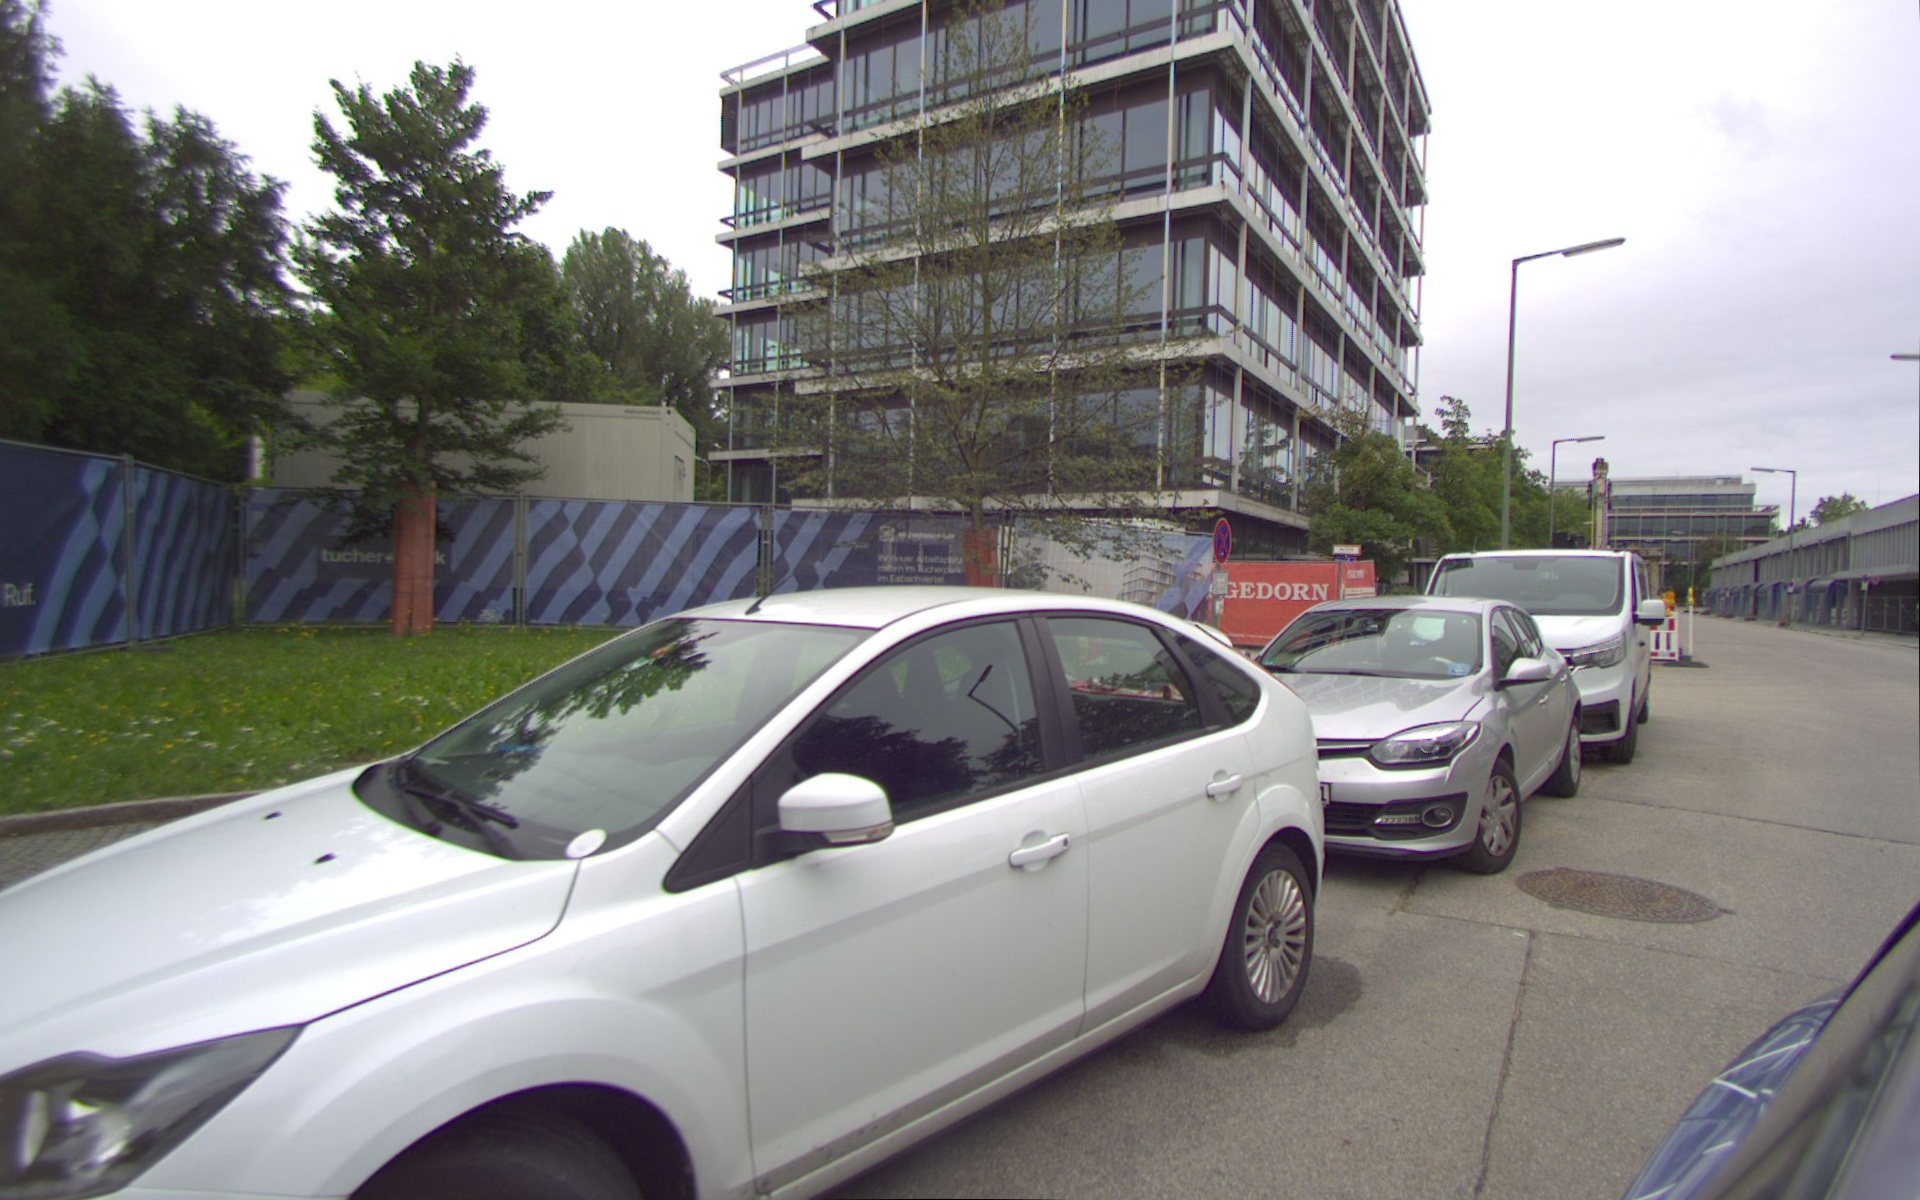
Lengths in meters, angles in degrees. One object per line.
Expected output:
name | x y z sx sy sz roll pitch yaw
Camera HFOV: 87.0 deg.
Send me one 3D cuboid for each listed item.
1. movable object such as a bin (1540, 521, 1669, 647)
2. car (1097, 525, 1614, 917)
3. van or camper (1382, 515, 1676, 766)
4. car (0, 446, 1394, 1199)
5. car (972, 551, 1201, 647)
movable object such as a bin | 22.020 -0.587 34.898 3.226 3.762 8.909 2 2 31
car | 2.949 0.487 6.858 1.991 1.749 4.386 3 2 39
van or camper | 6.369 0.270 10.945 1.990 2.038 5.303 3 2 38
car | -0.415 0.547 3.105 1.768 1.504 4.152 3 2 45
car | 2.791 -0.081 22.786 4.745 1.946 1.976 2 1 34
